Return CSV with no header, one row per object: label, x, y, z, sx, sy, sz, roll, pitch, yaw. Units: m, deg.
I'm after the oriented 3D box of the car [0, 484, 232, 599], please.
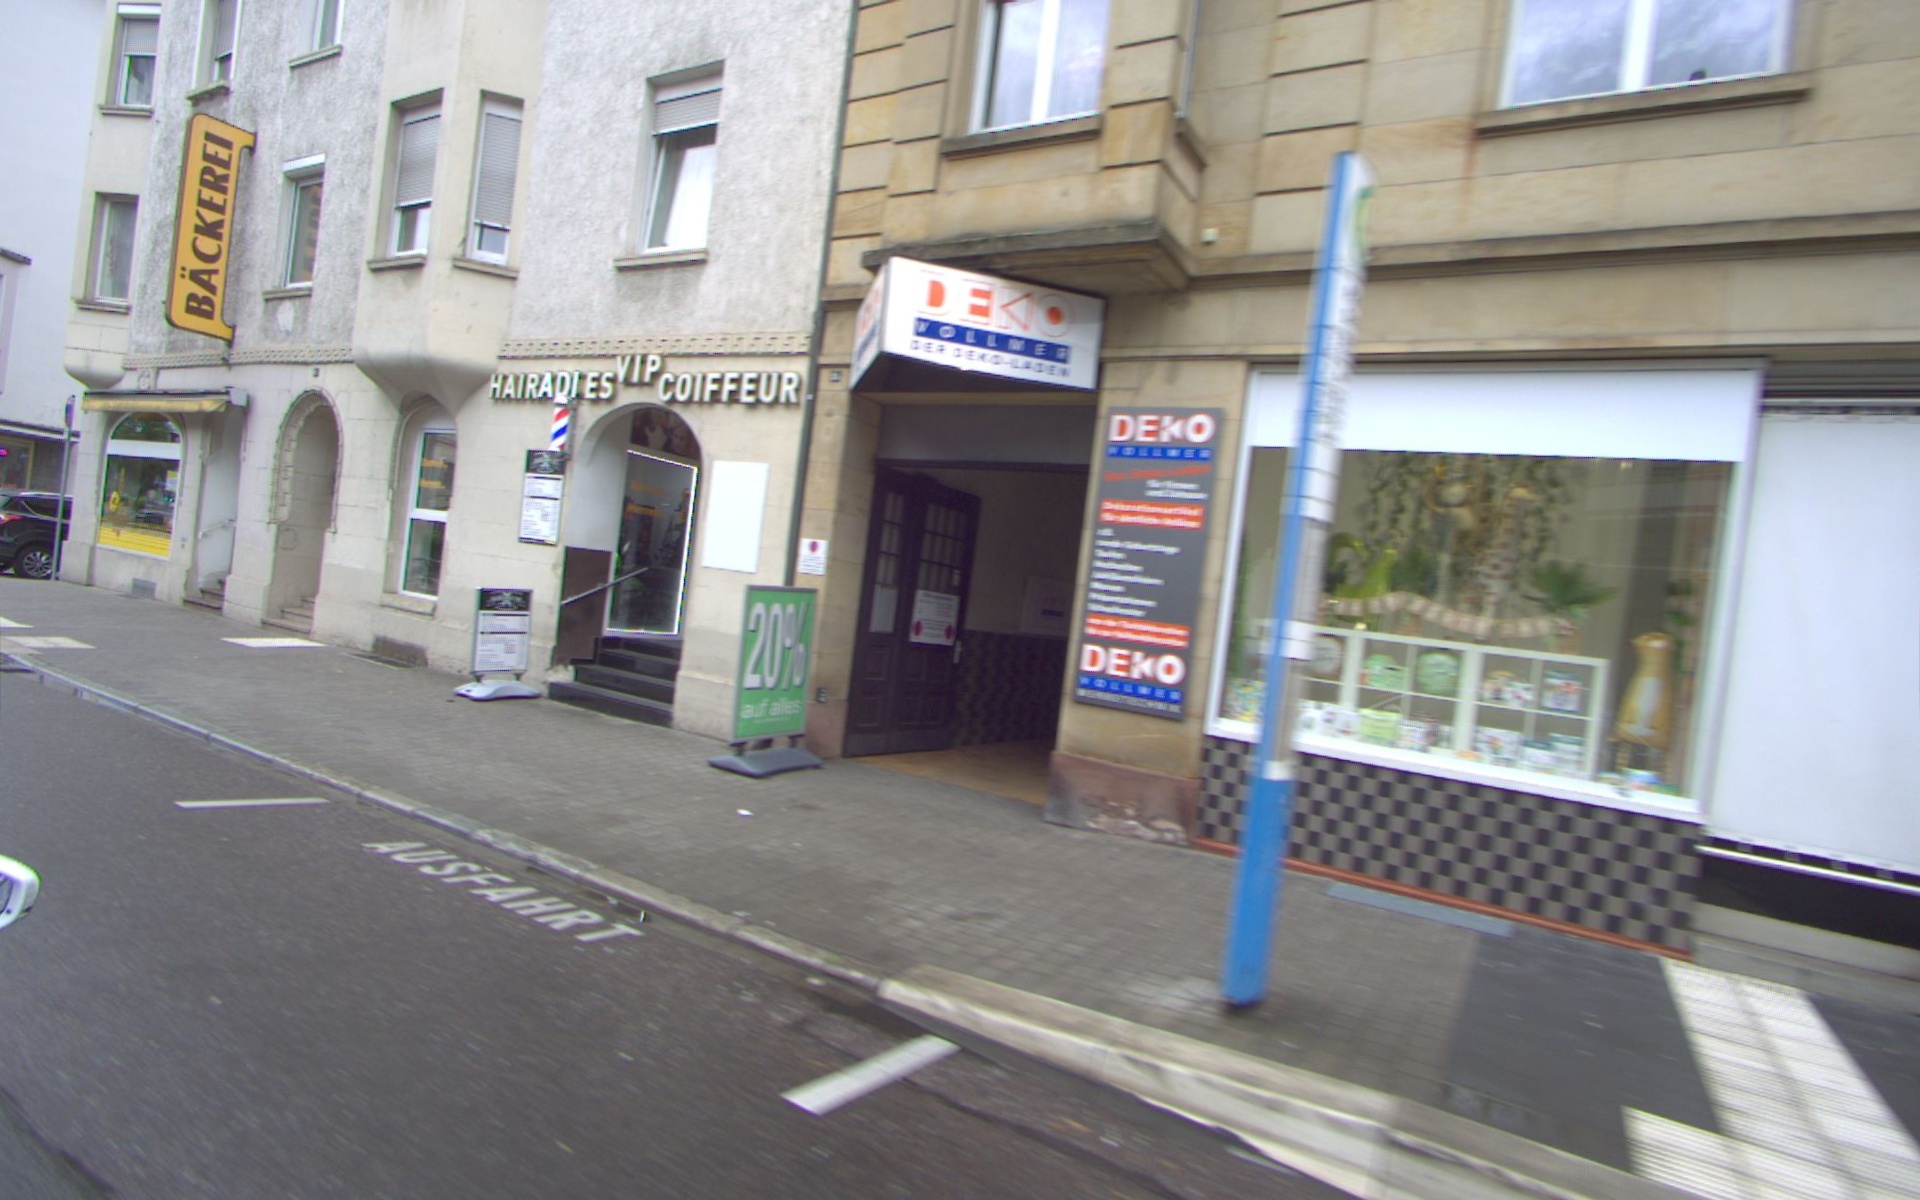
car,-17.833,-1.209,20.712,1.845,1.793,4.138,7,-1,38
